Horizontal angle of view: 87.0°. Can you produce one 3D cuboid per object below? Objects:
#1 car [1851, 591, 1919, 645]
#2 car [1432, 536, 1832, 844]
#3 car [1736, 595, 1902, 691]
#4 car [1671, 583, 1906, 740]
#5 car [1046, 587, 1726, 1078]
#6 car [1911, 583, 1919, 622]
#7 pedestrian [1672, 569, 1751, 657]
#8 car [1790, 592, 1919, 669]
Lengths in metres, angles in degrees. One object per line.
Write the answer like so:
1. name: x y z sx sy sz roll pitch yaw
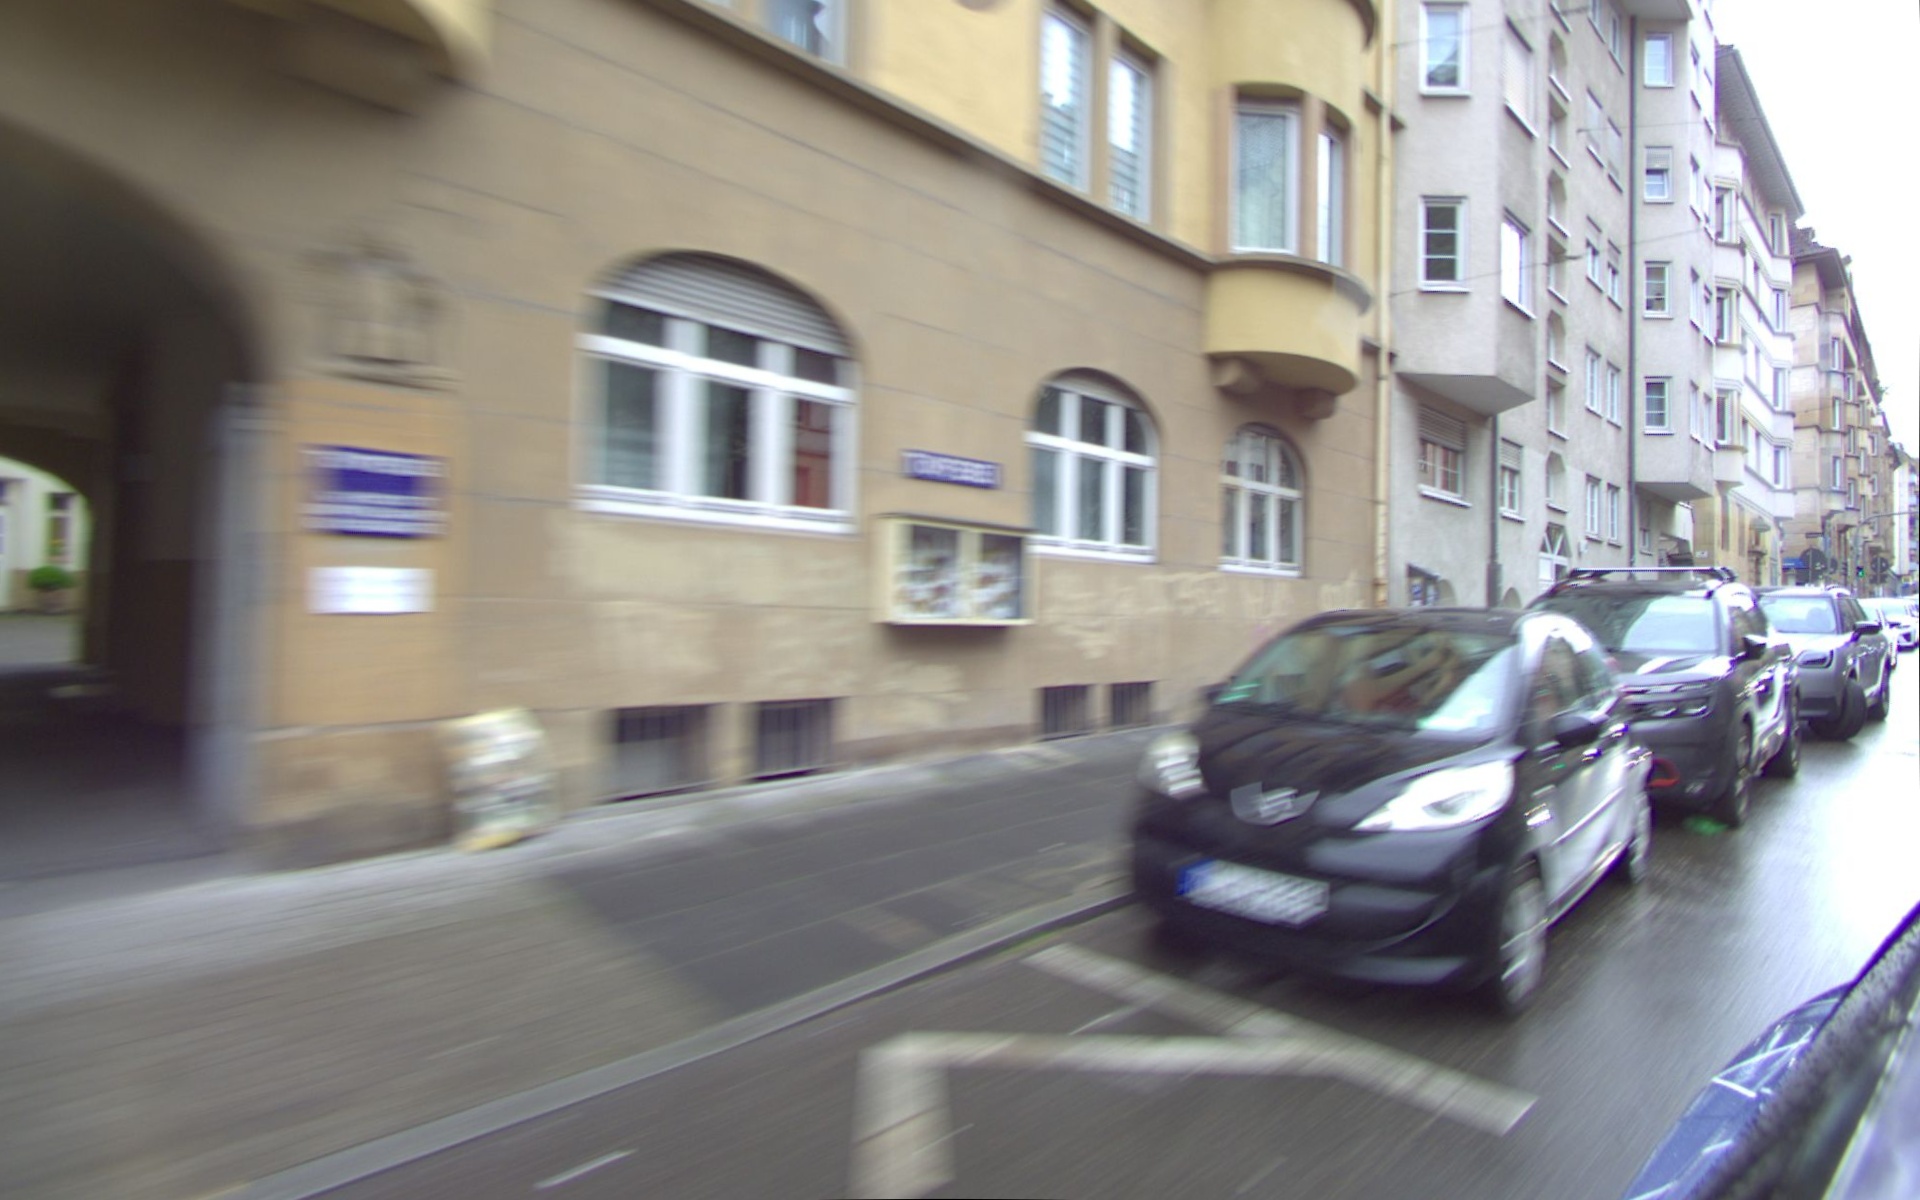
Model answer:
1. car: 27.617 0.490 29.844 3.959 1.496 1.646 0 0 -43
2. car: 5.509 0.514 8.058 4.193 1.821 1.739 0 0 -43
3. car: 14.196 0.611 16.653 3.959 1.393 1.646 0 0 -43
4. car: 9.927 0.595 12.024 3.959 1.565 1.646 0 0 -43
5. car: 2.346 0.682 4.984 3.932 1.470 1.631 0 0 -43
6. car: 50.786 0.115 52.462 3.934 1.994 1.995 0 0 -44
7. pedestrian: 15.297 0.247 20.604 1.084 1.734 1.123 0 0 -44
8. car: 18.692 0.557 21.088 3.959 1.450 1.646 0 0 -43
